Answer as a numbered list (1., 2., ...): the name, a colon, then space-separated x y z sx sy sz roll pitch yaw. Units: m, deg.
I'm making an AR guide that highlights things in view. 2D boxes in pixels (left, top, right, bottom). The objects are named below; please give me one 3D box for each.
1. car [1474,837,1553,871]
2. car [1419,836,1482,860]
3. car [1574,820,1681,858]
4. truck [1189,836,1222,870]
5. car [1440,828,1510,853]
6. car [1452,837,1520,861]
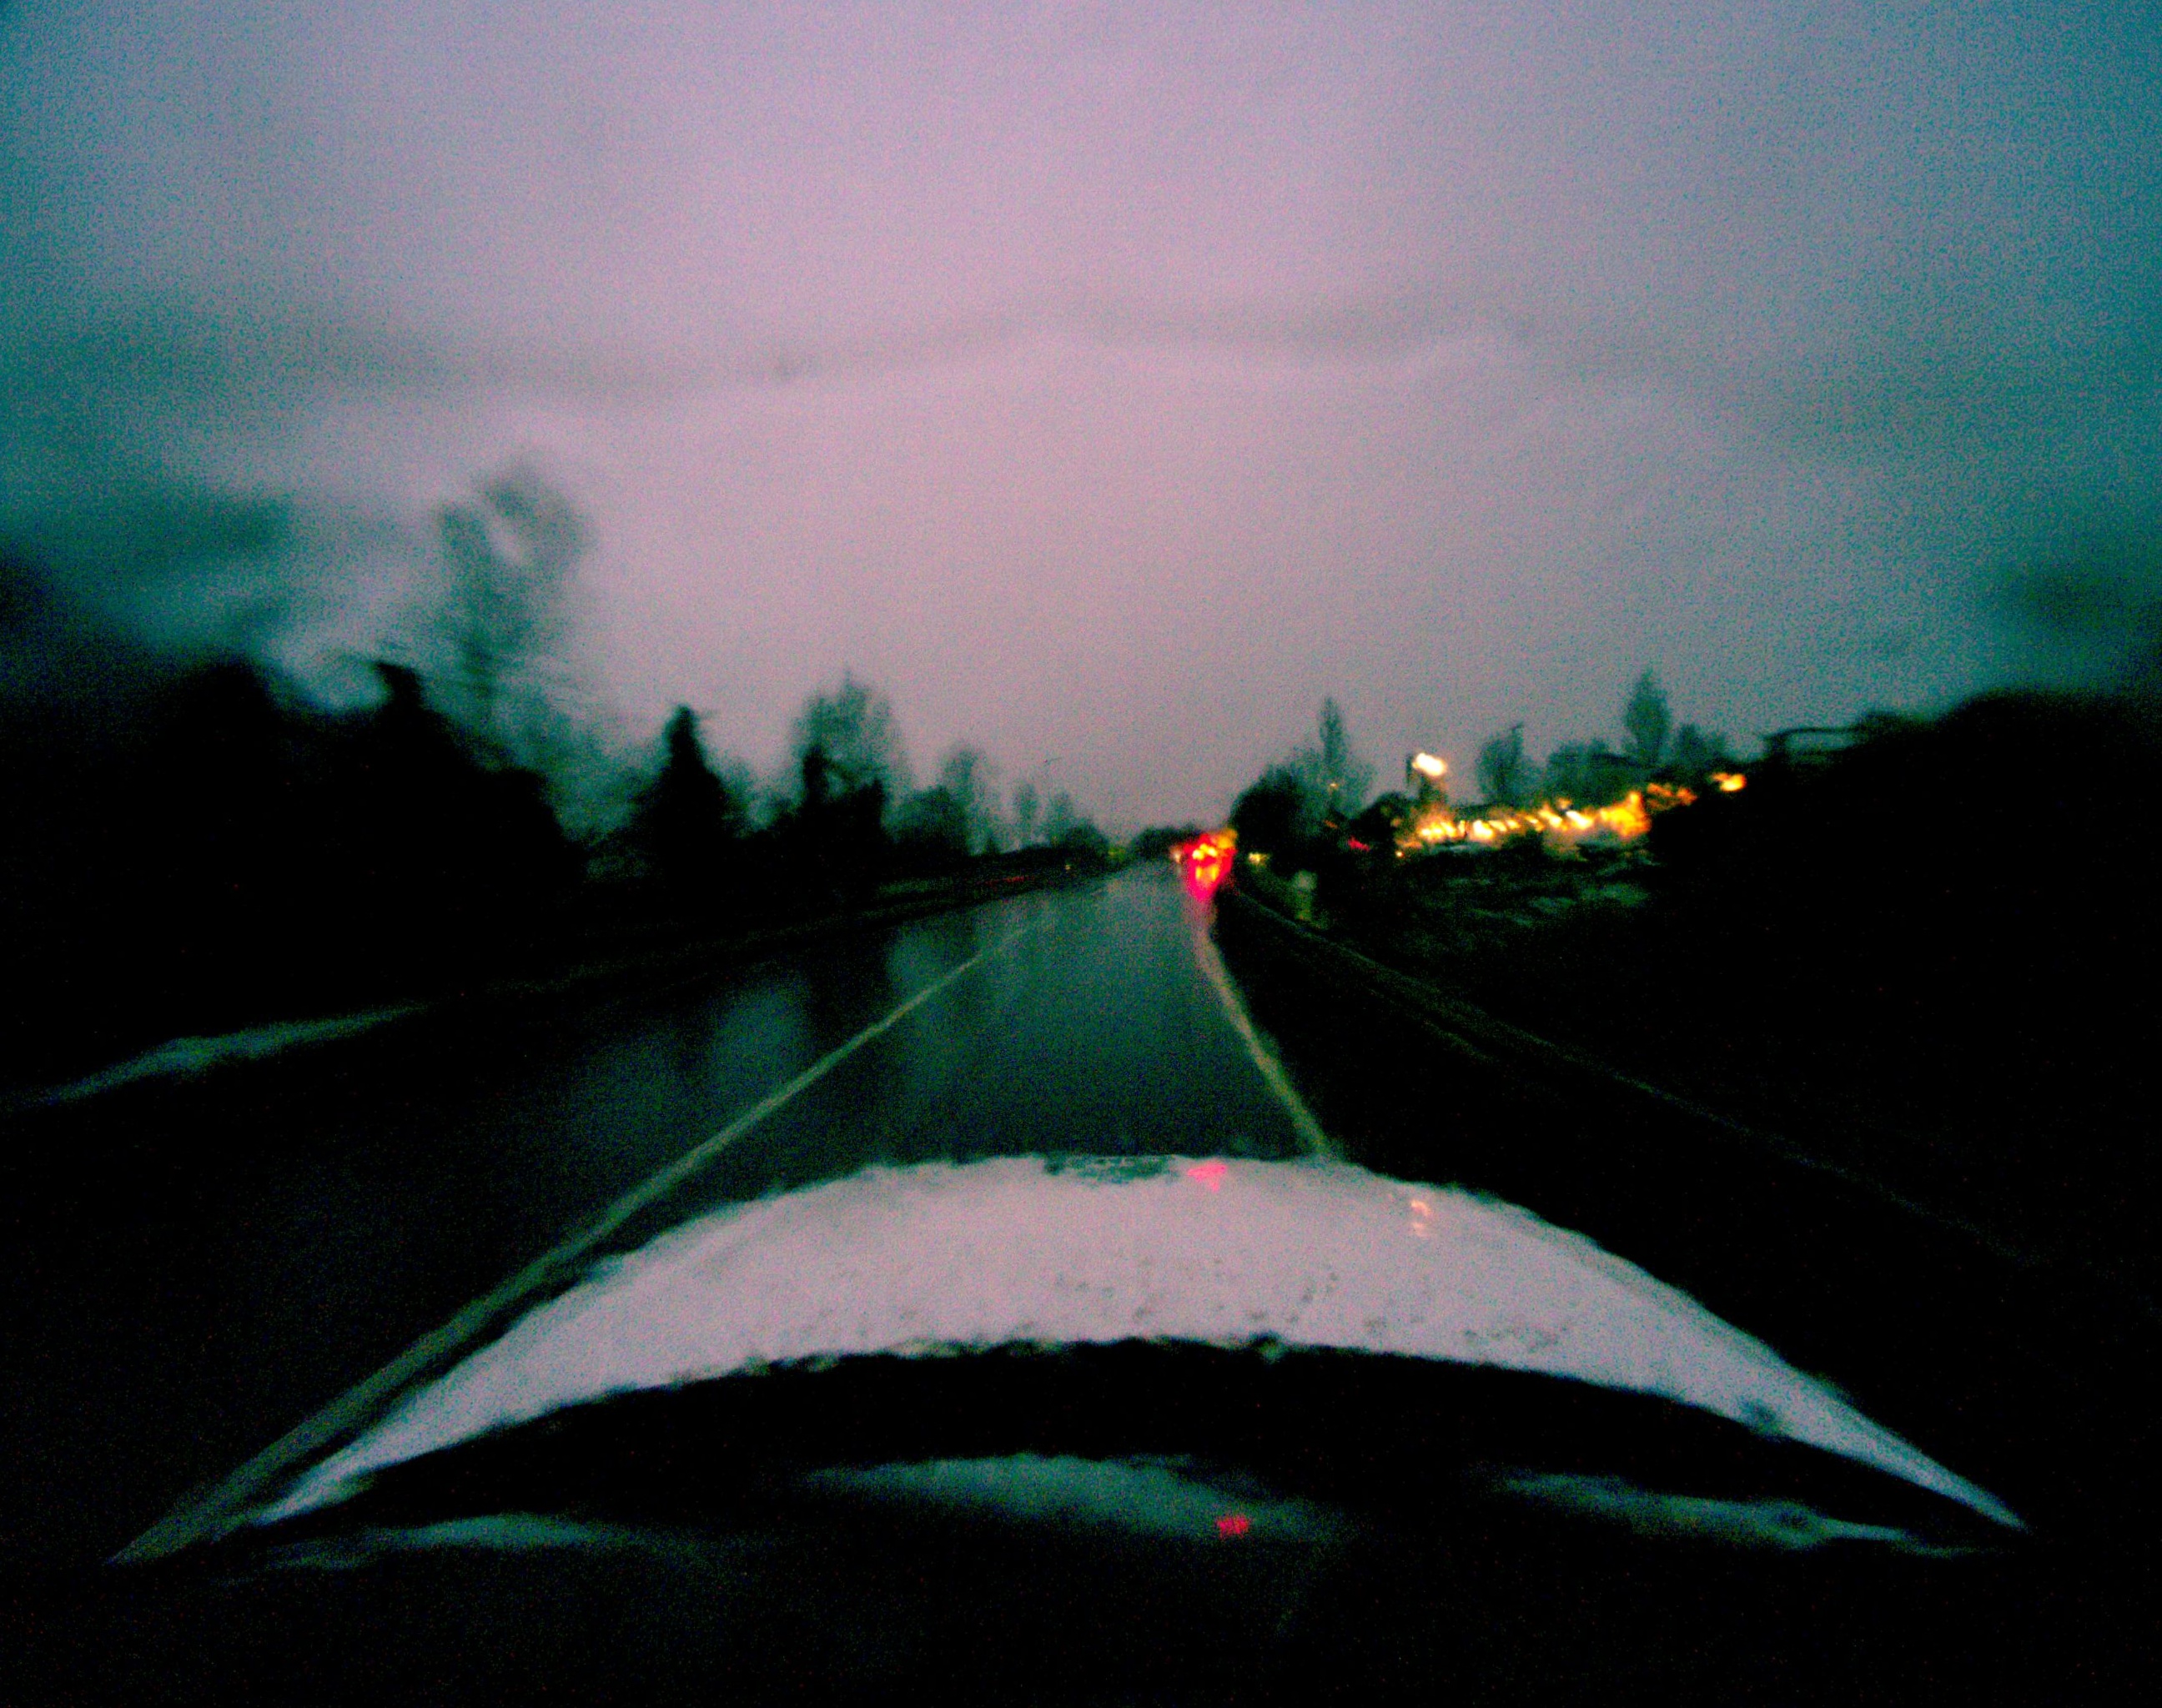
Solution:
1. car: 28.924 0.007 54.511 4.243 1.854 1.995 -5 0 -7
2. car: 28.660 -0.424 63.241 4.117 1.422 1.661 -6 -1 -2
3. car: 29.196 -0.777 43.599 4.378 1.715 1.999 -3 0 -1
4. truck: 11.906 -0.093 77.566 2.516 2.869 5.940 -6 -1 11
5. car: 29.264 -0.992 60.587 4.243 1.630 1.995 -3 0 -7
6. car: 28.884 -0.313 58.111 3.860 1.477 1.995 -3 0 -7
